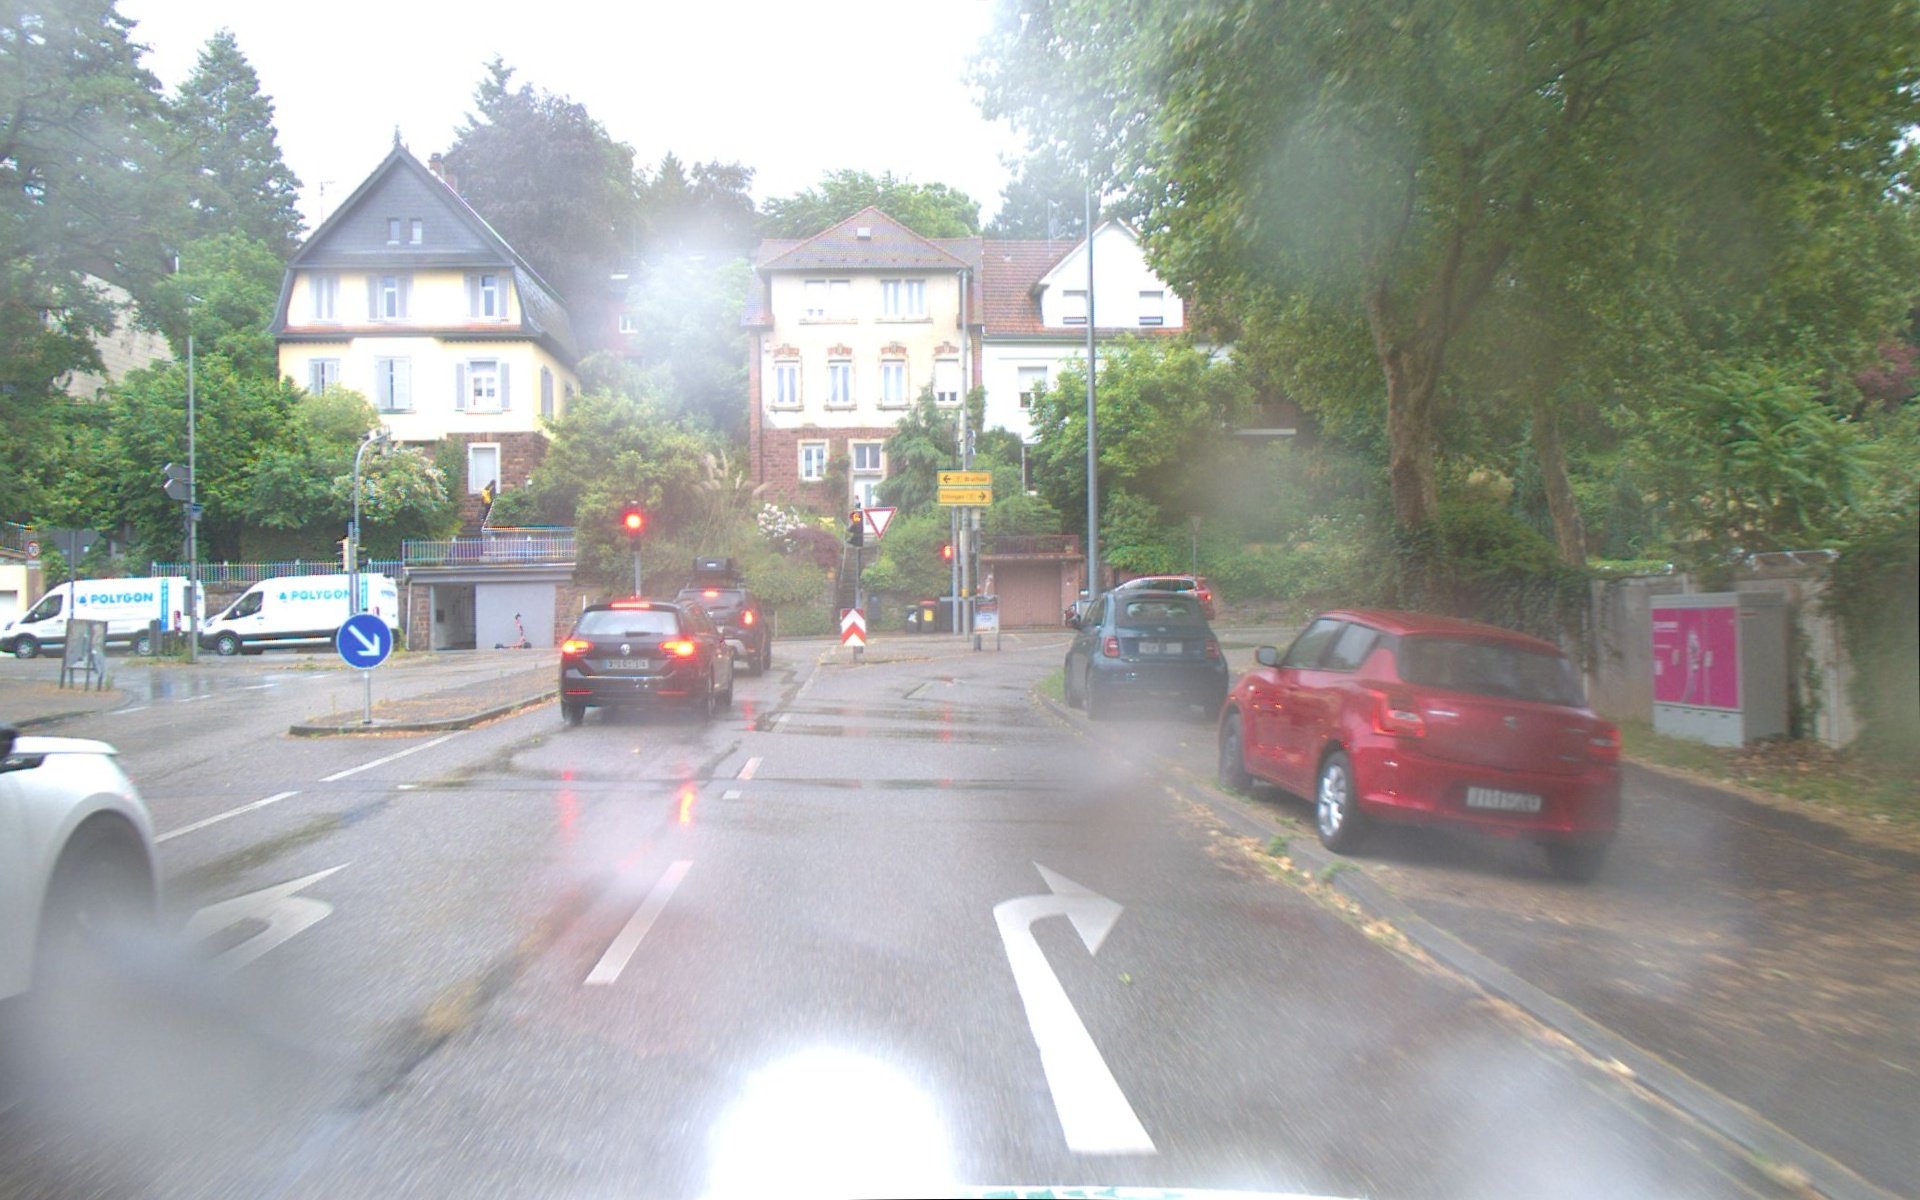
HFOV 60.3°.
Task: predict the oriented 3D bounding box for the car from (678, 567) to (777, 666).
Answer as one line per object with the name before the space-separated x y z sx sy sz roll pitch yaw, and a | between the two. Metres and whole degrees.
car | -4.457 0.246 31.459 1.728 1.741 4.592 0 1 -9

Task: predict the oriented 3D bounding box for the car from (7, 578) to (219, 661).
car | -26.682 0.616 52.255 5.450 2.538 2.315 -1 -1 -1

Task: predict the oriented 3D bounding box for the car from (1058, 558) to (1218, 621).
car | 5.237 -0.291 49.063 4.476 1.629 1.774 -3 -1 -2

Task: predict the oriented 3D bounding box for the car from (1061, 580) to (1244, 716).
car | 2.324 0.553 20.802 1.714 1.518 3.598 1 0 -3

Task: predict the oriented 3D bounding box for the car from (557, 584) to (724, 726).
car | -3.949 0.597 20.720 1.798 1.481 4.648 1 1 -10

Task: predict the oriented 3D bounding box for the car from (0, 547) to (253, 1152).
car | -3.336 0.679 3.729 1.717 1.562 4.365 -2 0 -3

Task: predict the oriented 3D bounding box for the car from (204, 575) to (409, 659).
car | -20.583 0.538 52.293 5.546 2.538 2.315 -1 -1 -1

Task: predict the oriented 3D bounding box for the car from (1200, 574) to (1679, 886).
car | 3.016 0.722 11.288 1.785 1.543 3.740 6 1 -5
